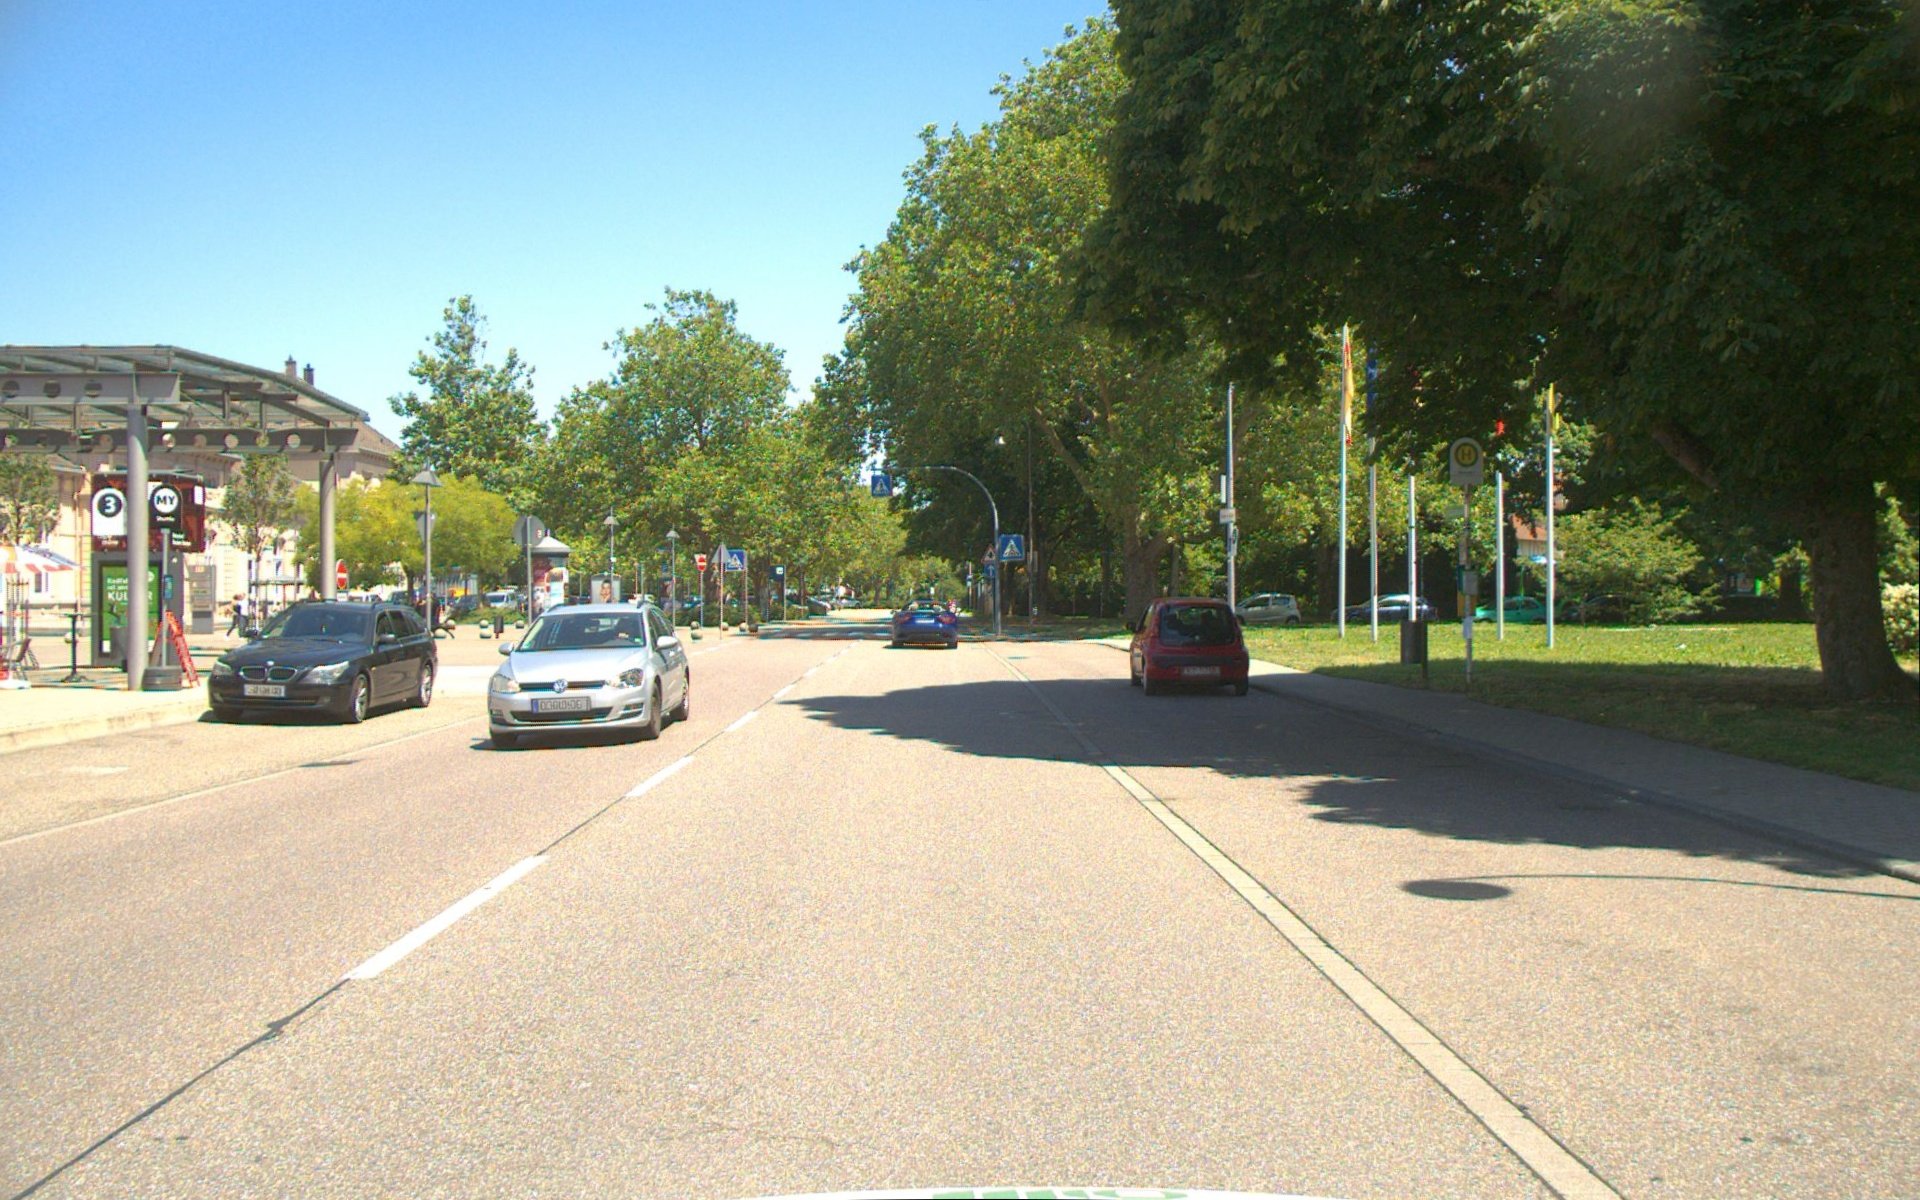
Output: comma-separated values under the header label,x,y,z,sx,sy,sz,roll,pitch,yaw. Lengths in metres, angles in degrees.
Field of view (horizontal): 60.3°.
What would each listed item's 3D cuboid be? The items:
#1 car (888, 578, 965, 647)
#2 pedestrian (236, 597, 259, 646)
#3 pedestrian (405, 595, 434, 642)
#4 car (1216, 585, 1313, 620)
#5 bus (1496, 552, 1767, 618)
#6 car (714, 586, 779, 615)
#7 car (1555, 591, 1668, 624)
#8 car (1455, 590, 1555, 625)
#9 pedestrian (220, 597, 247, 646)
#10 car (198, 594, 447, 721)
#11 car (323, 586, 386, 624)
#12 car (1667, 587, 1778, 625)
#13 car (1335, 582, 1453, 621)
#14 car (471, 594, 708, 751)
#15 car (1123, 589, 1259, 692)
label,x,y,z,sx,sy,sz,roll,pitch,yaw
car,-0.998,0.354,47.394,2.082,1.881,4.046,0,0,-2
pedestrian,-25.329,0.766,58.772,0.577,1.740,0.582,-2,-2,42
pedestrian,-19.851,0.681,60.743,0.744,1.688,0.721,-1,-2,15
car,13.541,0.101,73.731,4.019,1.492,2.001,-1,0,2
bus,32.125,-0.708,79.302,12.128,3.030,2.267,-1,-1,-2
car,-13.912,0.019,107.794,3.928,1.812,1.989,0,1,-20
car,28.913,0.353,73.483,4.249,1.441,1.999,0,-1,-1
car,24.207,0.347,73.537,3.801,1.479,2.000,0,-1,0
pedestrian,-25.466,0.762,57.974,0.620,1.703,0.653,-2,-2,42
car,-8.434,0.689,22.365,1.684,1.504,4.783,-1,0,-3
car,-32.354,0.245,88.561,1.716,1.951,4.774,-1,1,-2
car,33.835,0.267,73.481,4.013,1.637,2.000,0,-1,0
car,19.230,0.065,73.406,4.723,1.635,2.001,-1,0,2
car,-4.057,0.724,18.793,1.778,1.469,4.158,-2,1,-1
car,3.592,0.600,26.303,1.683,1.504,3.706,-1,0,1
